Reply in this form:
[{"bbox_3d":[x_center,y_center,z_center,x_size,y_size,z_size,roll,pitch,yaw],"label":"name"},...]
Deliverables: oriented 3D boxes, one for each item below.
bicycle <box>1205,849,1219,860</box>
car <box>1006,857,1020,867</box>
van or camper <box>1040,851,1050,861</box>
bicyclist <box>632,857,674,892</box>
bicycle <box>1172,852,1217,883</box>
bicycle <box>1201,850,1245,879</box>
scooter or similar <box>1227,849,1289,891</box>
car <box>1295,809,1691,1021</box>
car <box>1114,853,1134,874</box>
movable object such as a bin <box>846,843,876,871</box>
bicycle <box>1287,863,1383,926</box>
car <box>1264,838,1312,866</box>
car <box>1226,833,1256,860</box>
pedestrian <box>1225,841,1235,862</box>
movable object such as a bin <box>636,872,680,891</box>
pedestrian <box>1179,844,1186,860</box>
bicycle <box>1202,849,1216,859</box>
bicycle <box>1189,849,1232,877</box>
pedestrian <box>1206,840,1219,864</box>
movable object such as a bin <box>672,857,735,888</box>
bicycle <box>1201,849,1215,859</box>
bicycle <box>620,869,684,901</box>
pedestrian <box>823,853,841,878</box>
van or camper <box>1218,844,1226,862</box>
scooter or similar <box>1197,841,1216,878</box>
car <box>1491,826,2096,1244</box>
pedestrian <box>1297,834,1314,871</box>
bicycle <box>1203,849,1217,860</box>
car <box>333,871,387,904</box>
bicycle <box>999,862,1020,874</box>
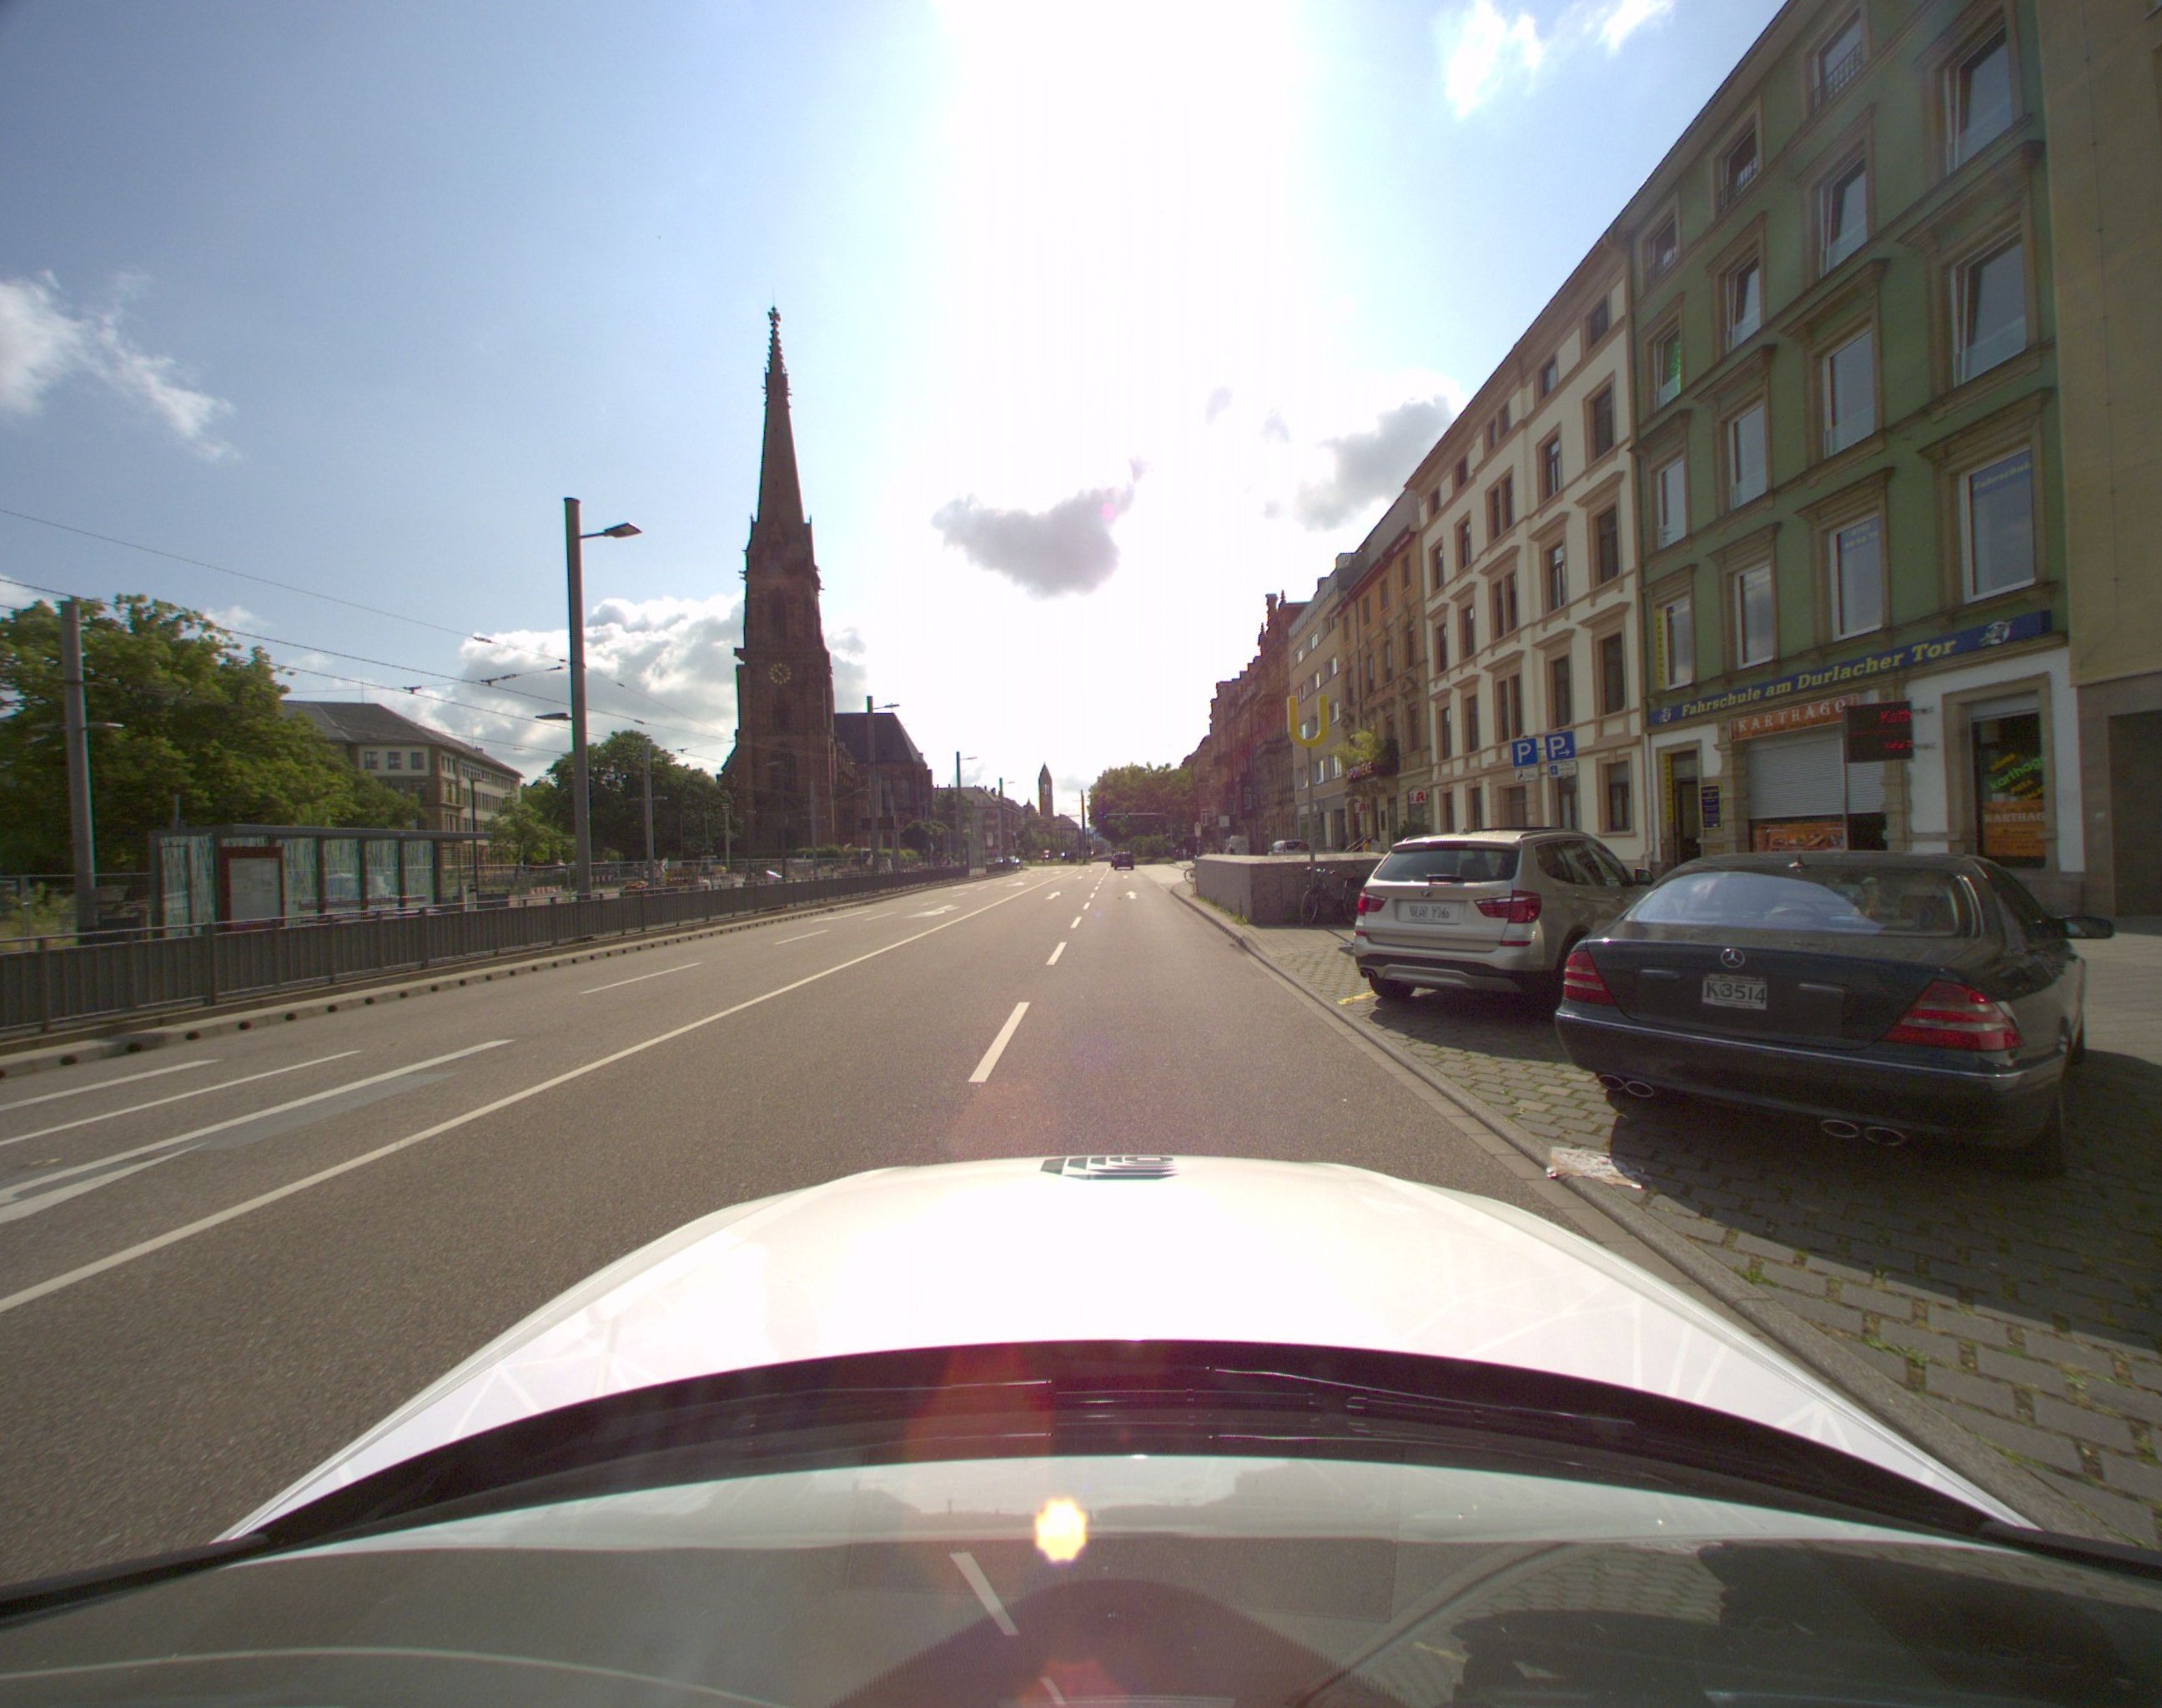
[{"bbox_3d":[16.958,0.053,105.321,1.737,1.267,0.467,-2,2,5],"label":"bicycle"},{"bbox_3d":[-10.388,1.162,124.787,1.911,1.417,3.738,-3,0,-2],"label":"car"},{"bbox_3d":[-9.858,0.541,224.263,2.249,2.737,6.200,-2,0,-1],"label":"van or camper"},{"bbox_3d":[-21.879,1.013,41.676,1.173,1.684,1.684,-3,0,1],"label":"bicyclist"},{"bbox_3d":[5.082,0.598,36.413,1.925,1.237,0.439,-3,2,-11],"label":"bicycle"},{"bbox_3d":[6.498,0.474,37.206,1.923,1.237,0.440,-3,2,-9],"label":"bicycle"},{"bbox_3d":[6.966,0.614,32.194,2.311,1.545,0.699,-2,2,8],"label":"scooter or similar"},{"bbox_3d":[4.510,0.417,8.579,4.620,1.647,2.037,-3,0,-40],"label":"car"},{"bbox_3d":[4.011,0.852,76.356,1.683,1.711,3.610,-2,2,1],"label":"car"},{"bbox_3d":[-26.276,0.280,97.490,1.983,3.105,4.009,-2,2,7],"label":"movable object such as a bin"},{"bbox_3d":[4.888,0.770,15.714,1.627,1.095,0.613,2,2,0],"label":"bicycle"},{"bbox_3d":[14.871,-0.120,58.753,1.989,1.862,4.747,-2,-1,-3],"label":"car"},{"bbox_3d":[15.929,-0.773,81.230,1.985,2.525,5.893,-2,0,3],"label":"car"},{"bbox_3d":[13.420,-0.214,73.507,0.661,1.836,0.693,-3,0,-4],"label":"pedestrian"},{"bbox_3d":[-37.902,2.410,73.184,1.994,1.502,5.136,-2,0,-10],"label":"movable object such as a bin"},{"bbox_3d":[13.257,-0.271,106.837,0.764,2.013,0.716,-3,0,3],"label":"pedestrian"},{"bbox_3d":[16.871,0.014,107.579,1.760,1.267,0.467,-2,2,5],"label":"bicycle"},{"bbox_3d":[6.264,0.424,39.447,1.978,1.237,0.440,-3,2,-9],"label":"bicycle"},{"bbox_3d":[10.404,-0.161,64.520,0.664,1.903,0.691,-3,0,-16],"label":"pedestrian"},{"bbox_3d":[-37.675,1.833,81.372,5.129,2.911,1.997,-2,0,-5],"label":"movable object such as a bin"},{"bbox_3d":[16.881,0.019,108.206,1.760,1.267,0.467,-2,2,5],"label":"bicycle"},{"bbox_3d":[-21.855,1.566,41.627,1.189,1.427,3.694,-3,0,1],"label":"bicycle"},{"bbox_3d":[-20.815,0.985,68.048,1.060,2.013,1.052,-3,0,6],"label":"pedestrian"},{"bbox_3d":[16.723,-0.116,96.583,0.663,2.013,0.638,-3,0,2],"label":"van or camper"},{"bbox_3d":[6.333,0.269,41.012,0.397,1.786,1.532,-2,0,-10],"label":"scooter or similar"},{"bbox_3d":[4.643,0.601,5.035,4.621,1.460,1.917,-2,0,-37],"label":"car"},{"bbox_3d":[13.119,-0.089,47.619,0.718,2.099,0.787,-2,2,3],"label":"pedestrian"},{"bbox_3d":[16.912,0.066,106.776,1.760,1.267,0.467,-2,2,5],"label":"bicycle"},{"bbox_3d":[-53.298,2.447,60.284,1.946,2.137,4.602,-2,1,-29],"label":"car"},{"bbox_3d":[-7.541,1.462,86.220,2.004,1.126,0.934,-3,0,12],"label":"bicycle"}]
